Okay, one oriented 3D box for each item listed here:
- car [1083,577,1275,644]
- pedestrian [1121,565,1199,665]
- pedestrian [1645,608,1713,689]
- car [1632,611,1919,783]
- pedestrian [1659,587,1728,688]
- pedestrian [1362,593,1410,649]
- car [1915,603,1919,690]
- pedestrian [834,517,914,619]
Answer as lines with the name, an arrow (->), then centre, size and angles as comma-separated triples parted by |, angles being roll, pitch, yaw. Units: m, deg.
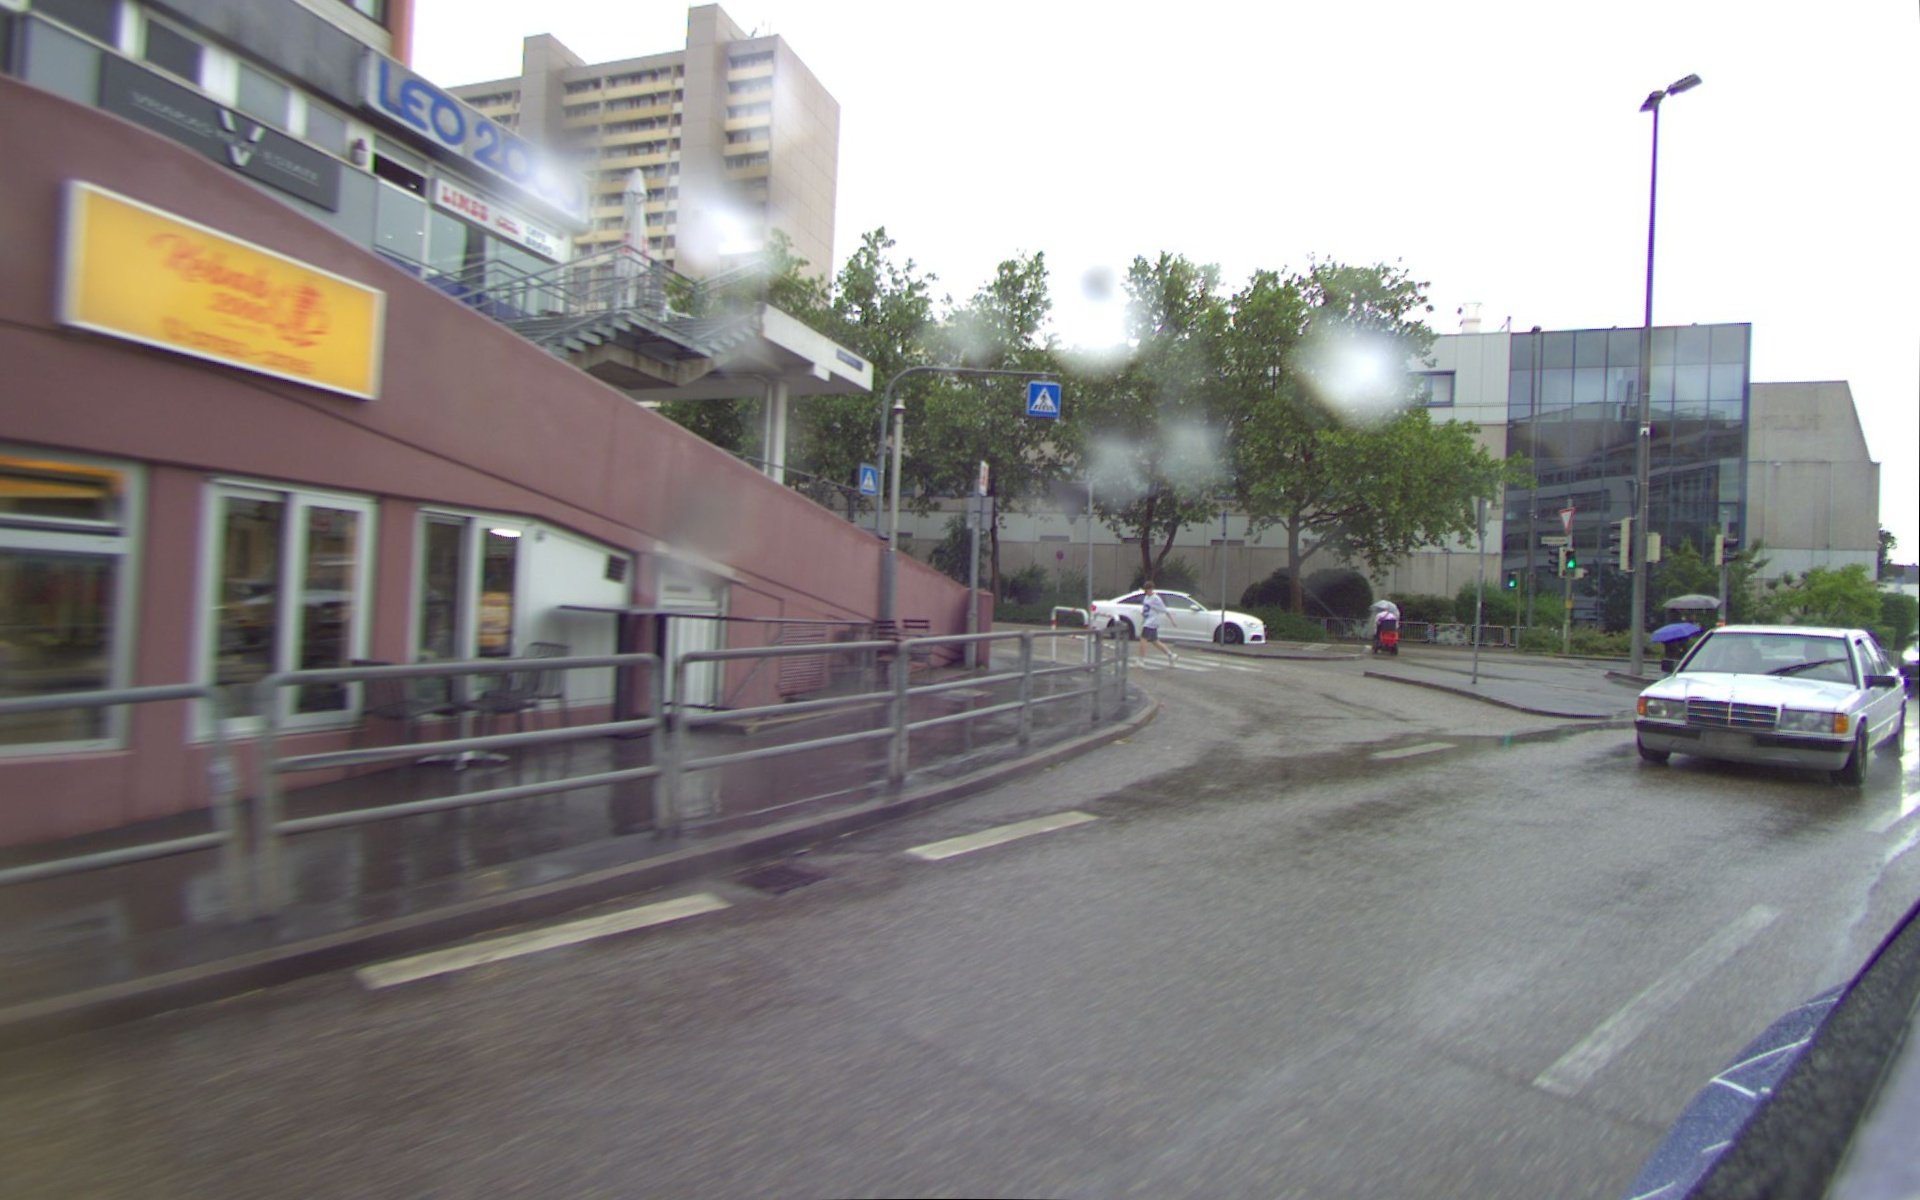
car -> 5.967, 0.235, 27.594 | 4.872, 1.532, 1.838 | 3, 1, 21
pedestrian -> 3.814, 0.272, 19.352 | 1.237, 1.852, 0.717 | 2, 1, -7
pedestrian -> 13.277, 0.889, 18.699 | 0.756, 1.396, 0.689 | 1, 4, -32
car -> 8.404, 0.819, 10.168 | 3.923, 1.324, 1.662 | 1, 2, -40
pedestrian -> 13.964, 0.696, 19.269 | 0.781, 1.825, 0.689 | 1, 4, -32
pedestrian -> 11.353, 0.542, 26.991 | 0.908, 1.418, 1.208 | 2, 1, 13
car -> 20.666, 0.949, 20.064 | 4.401, 1.668, 2.057 | 1, 1, -41
pedestrian -> -1.380, -0.515, 16.320 | 0.918, 1.572, 0.921 | 2, 1, 23
